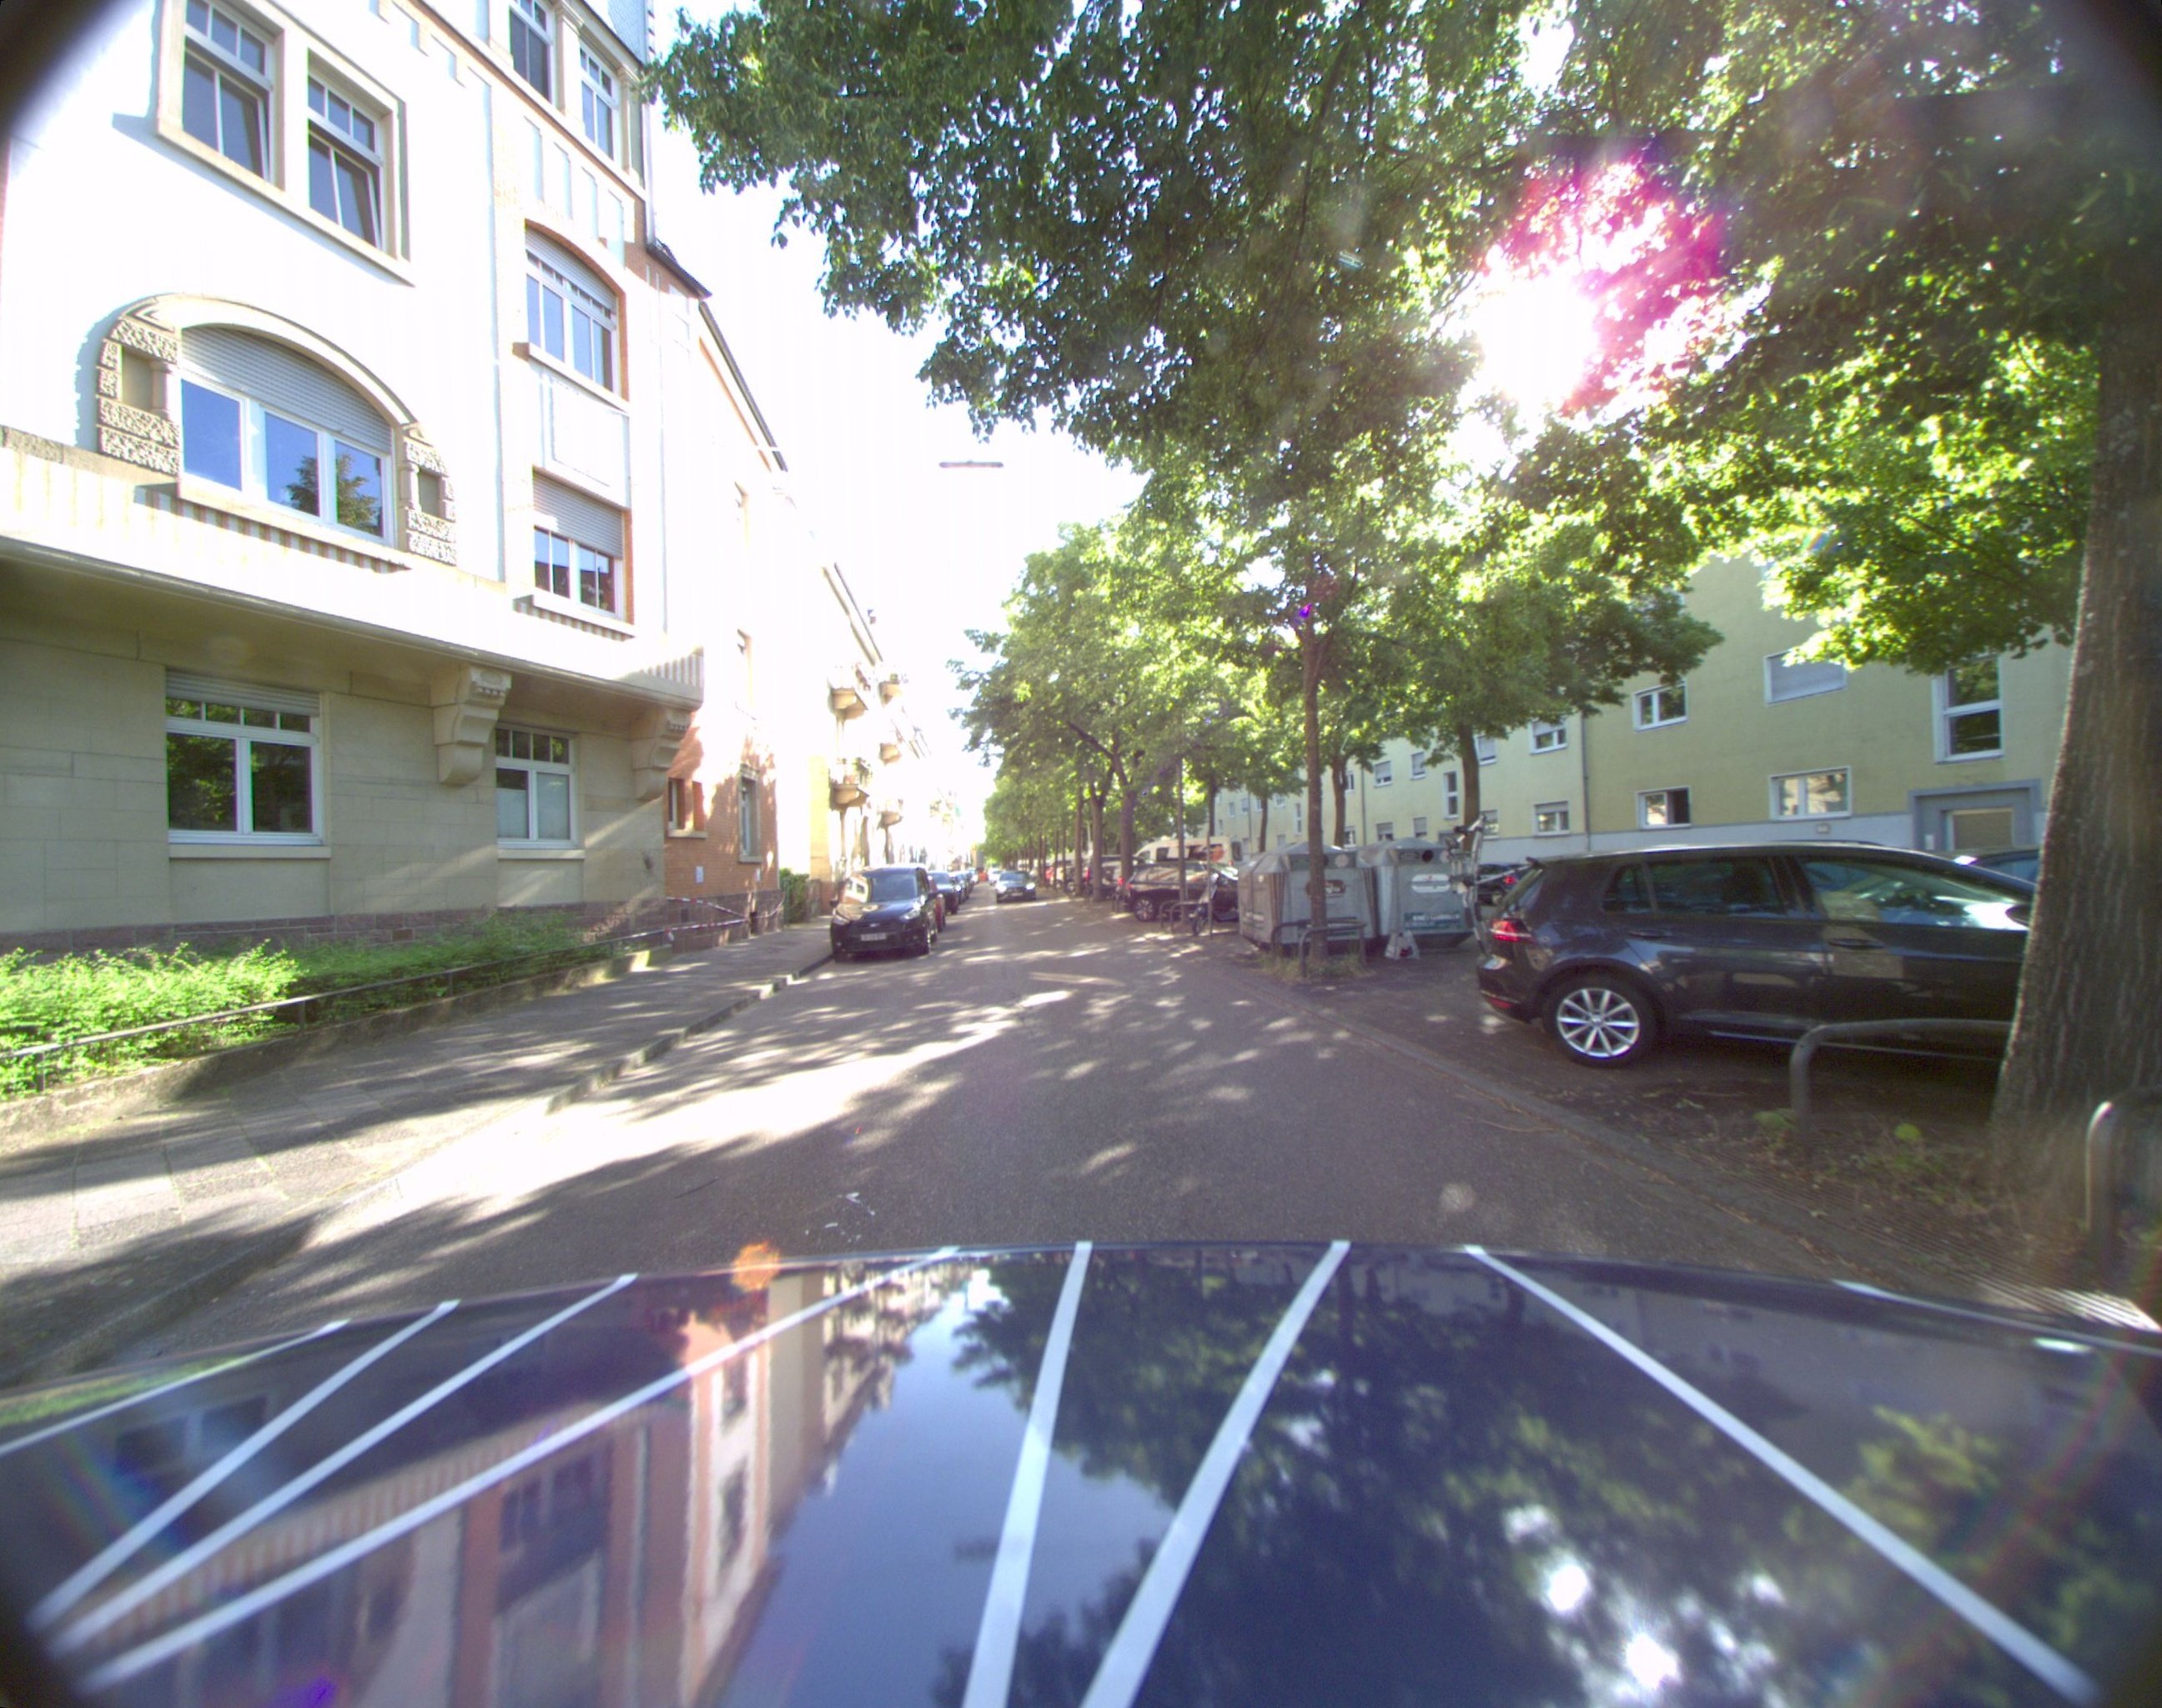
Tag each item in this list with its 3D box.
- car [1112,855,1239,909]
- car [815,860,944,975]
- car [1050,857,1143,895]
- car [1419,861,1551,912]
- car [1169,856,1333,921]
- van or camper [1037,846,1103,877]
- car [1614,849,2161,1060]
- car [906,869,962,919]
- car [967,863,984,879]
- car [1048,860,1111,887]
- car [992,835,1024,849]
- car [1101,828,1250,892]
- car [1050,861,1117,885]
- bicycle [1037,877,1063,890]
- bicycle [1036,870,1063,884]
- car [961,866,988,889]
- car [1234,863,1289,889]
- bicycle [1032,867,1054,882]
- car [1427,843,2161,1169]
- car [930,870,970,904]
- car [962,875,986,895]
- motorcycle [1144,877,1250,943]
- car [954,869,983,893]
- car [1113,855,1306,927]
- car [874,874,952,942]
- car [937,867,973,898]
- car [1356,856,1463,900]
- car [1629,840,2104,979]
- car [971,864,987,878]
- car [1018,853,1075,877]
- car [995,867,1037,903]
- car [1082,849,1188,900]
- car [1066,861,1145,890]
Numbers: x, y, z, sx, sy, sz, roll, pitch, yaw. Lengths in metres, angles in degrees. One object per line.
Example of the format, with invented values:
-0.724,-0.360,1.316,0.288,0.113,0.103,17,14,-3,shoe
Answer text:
3.078,0.918,24.757,3.729,1.572,1.639,-3,0,24,car
-3.936,1.134,15.553,1.807,1.860,4.271,-5,0,-7,car
0.758,1.118,38.173,4.266,1.632,1.658,-4,0,26,car
13.680,1.051,26.049,1.779,1.485,4.142,-4,0,-9,car
4.667,0.941,20.786,4.094,1.457,1.870,-5,-1,20,car
-1.132,0.817,78.310,6.293,2.808,2.411,-3,0,22,van or camper
6.972,0.712,6.338,3.989,1.394,1.790,-2,0,31,car
-5.614,1.465,29.441,1.870,1.634,4.488,-4,0,-9,car
-10.780,1.747,77.848,1.604,1.484,3.964,-1,0,-6,car
-0.087,1.302,50.693,3.687,1.586,1.775,-3,0,18,car
-10.315,-1.654,107.649,4.092,1.516,1.705,-6,-2,23,car
4.172,0.366,33.773,6.069,2.606,2.461,-1,-4,27,car
0.199,1.369,56.532,4.633,1.477,1.758,-3,0,-21,car
-2.450,2.313,59.912,1.901,0.913,0.379,-3,0,13,bicycle
-2.278,1.649,54.867,1.813,0.988,0.426,-2,0,13,bicycle
-7.848,1.697,56.070,1.773,1.542,4.181,-4,0,-7,car
11.204,1.348,47.497,1.898,1.556,4.157,-1,-1,-9,car
-3.078,1.673,61.382,1.688,1.152,0.379,-3,0,13,bicycle
4.659,0.758,4.911,4.131,1.473,1.779,-2,1,33,car
-6.284,1.555,36.729,1.595,1.406,3.630,-4,0,-6,car
-8.794,2.548,62.798,1.775,1.423,4.288,-3,0,-7,car
2.229,1.053,14.587,1.946,1.164,0.517,-1,0,-17,motorcycle
-7.596,1.808,51.622,1.697,1.459,4.003,-3,0,-7,car
3.041,0.864,18.321,4.143,1.545,1.837,-2,0,35,car
-4.619,1.434,21.436,1.650,1.528,3.998,-5,0,-7,car
-6.816,1.522,41.523,1.811,1.554,4.318,-1,-1,-8,car
13.111,0.941,30.680,1.777,1.508,4.589,-4,0,-7,car
9.220,0.644,9.236,3.795,1.457,1.646,-2,0,7,car
-10.876,1.813,81.327,1.612,1.411,4.566,-2,-1,-8,car
-4.153,1.348,90.412,6.313,2.544,2.342,-3,0,25,car
-2.994,1.388,35.433,1.793,1.510,3.999,-1,-1,-4,car
2.197,0.840,30.970,3.841,1.877,1.847,-3,-1,29,car
1.406,1.255,43.514,4.100,1.473,1.734,-2,0,24,car
